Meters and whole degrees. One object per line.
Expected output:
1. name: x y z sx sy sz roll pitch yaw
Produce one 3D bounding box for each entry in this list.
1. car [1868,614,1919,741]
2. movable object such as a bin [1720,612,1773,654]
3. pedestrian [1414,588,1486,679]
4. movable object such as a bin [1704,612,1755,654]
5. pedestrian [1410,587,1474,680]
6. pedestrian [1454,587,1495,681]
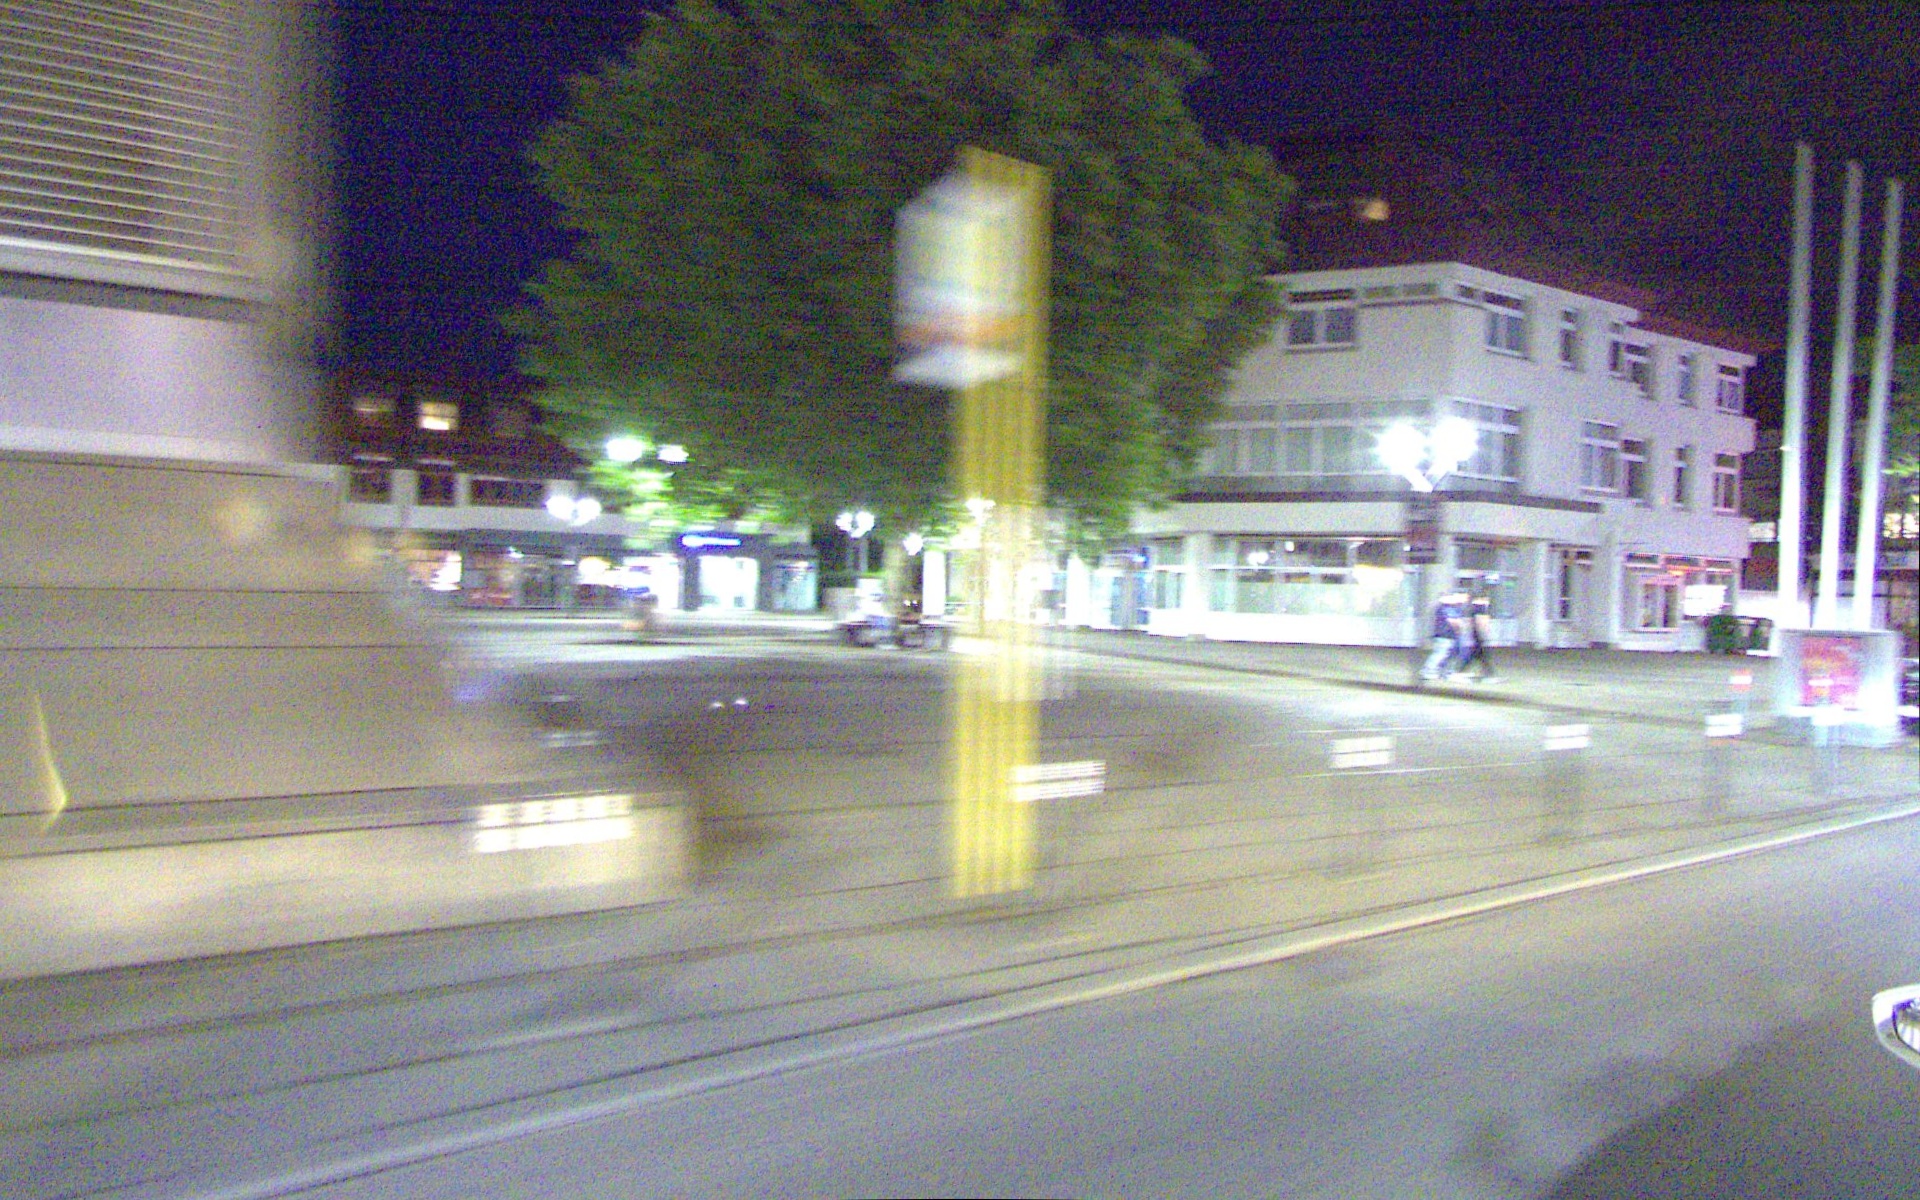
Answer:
1. car: 14.445 1.093 13.610 4.427 1.595 1.763 2 1 -28
2. movable object such as a bin: 29.740 1.250 38.000 1.213 1.477 1.126 3 1 -28
3. pedestrian: 10.417 0.697 21.380 1.005 1.841 0.793 2 2 -9
4. movable object such as a bin: 28.616 1.212 37.369 1.270 1.463 1.032 3 0 -28
5. pedestrian: 9.968 0.674 20.780 0.775 1.856 0.880 2 2 -3
6. pedestrian: 10.330 0.679 20.184 0.494 1.846 0.502 2 0 -5
